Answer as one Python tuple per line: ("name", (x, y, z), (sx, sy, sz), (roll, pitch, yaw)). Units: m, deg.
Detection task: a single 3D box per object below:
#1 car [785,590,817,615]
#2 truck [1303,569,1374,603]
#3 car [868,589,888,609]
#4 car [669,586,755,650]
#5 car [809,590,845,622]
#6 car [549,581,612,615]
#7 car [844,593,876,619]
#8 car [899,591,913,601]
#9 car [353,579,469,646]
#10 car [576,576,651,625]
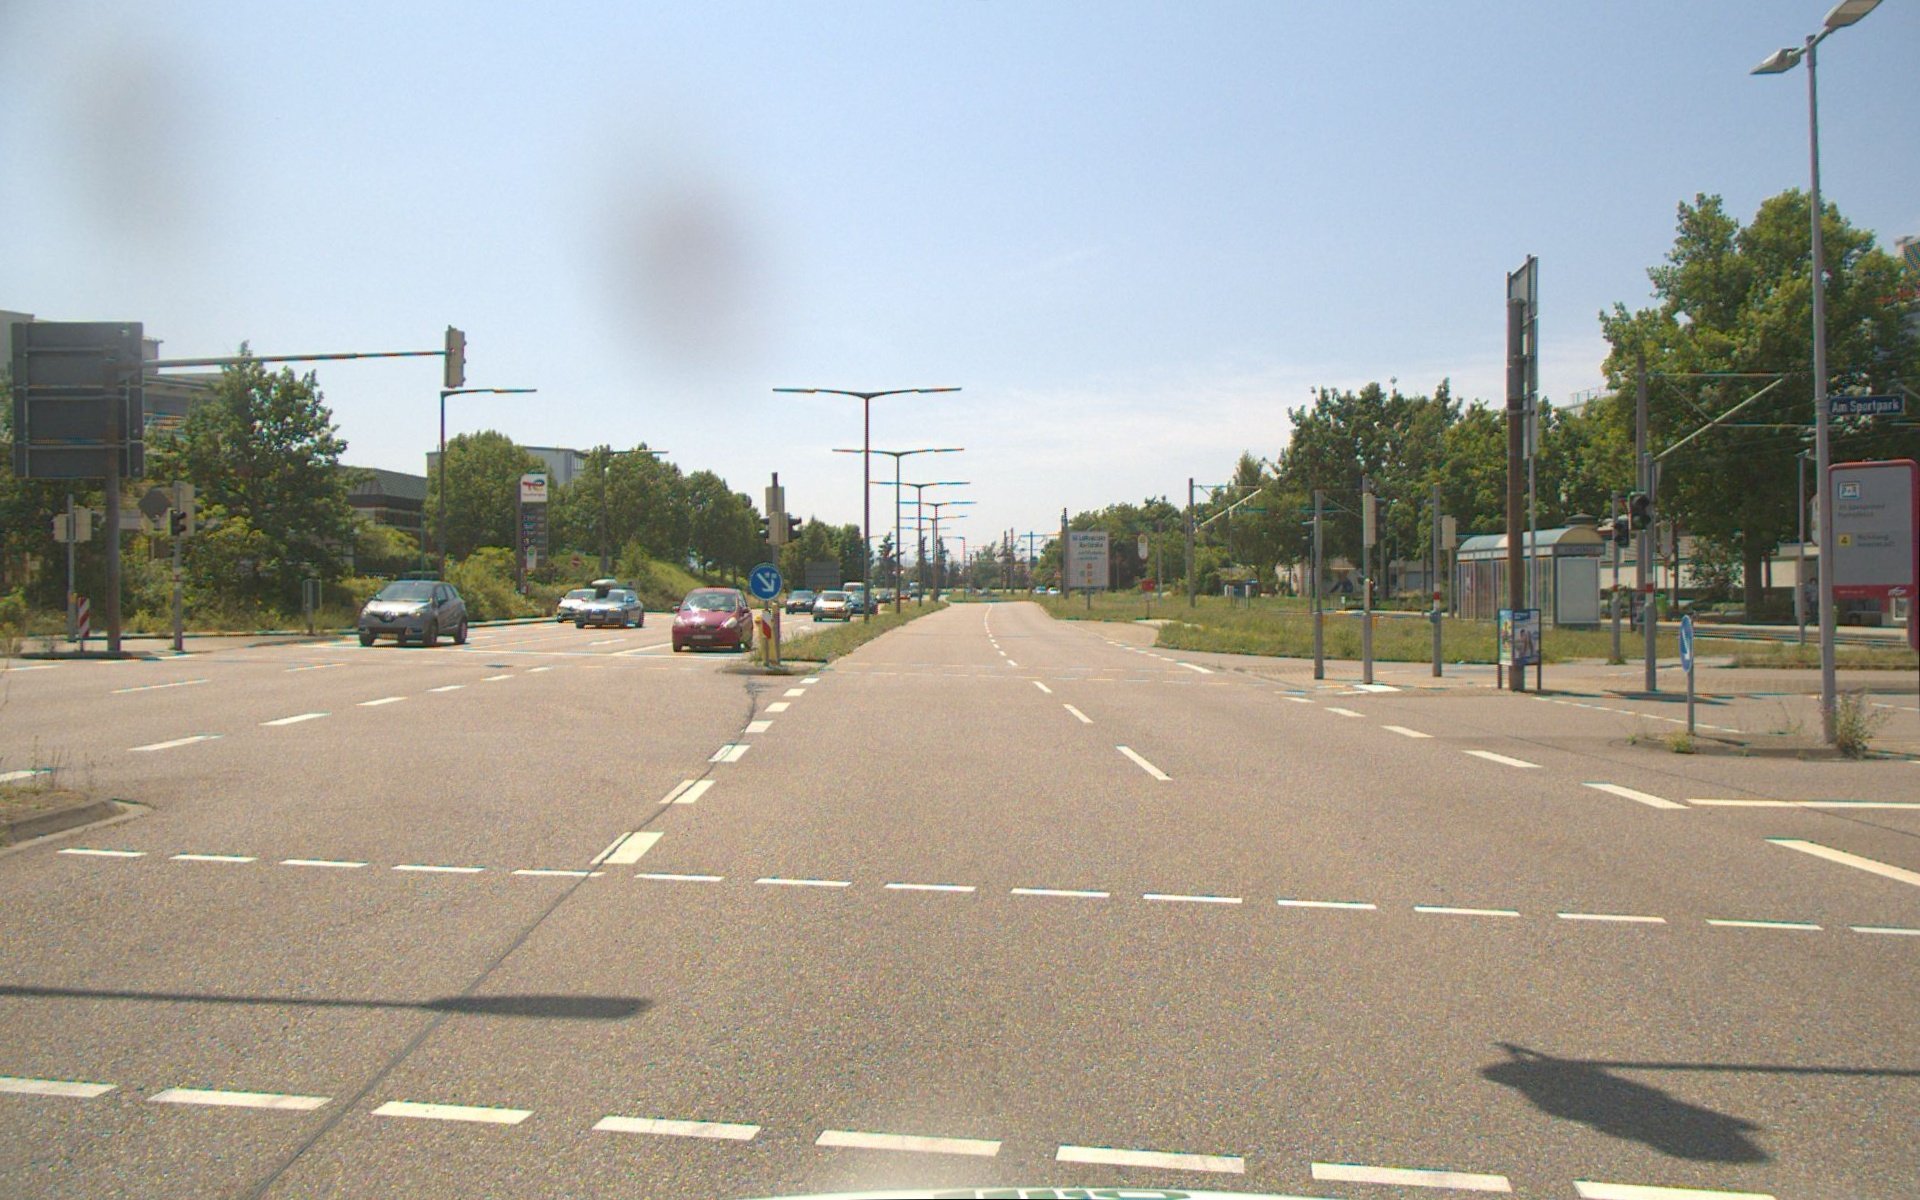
("car", (-9.764, 0.134, 101.554), (1.604, 1.454, 4.051), (0, 0, 0))
("truck", (33.869, -1.245, 148.159), (5.730, 2.893, 2.316), (-2, 0, -8))
("car", (-8.562, -0.089, 173.202), (1.954, 2.049, 3.997), (1, 0, -4))
("car", (-6.118, 0.415, 41.170), (1.625, 1.516, 3.999), (0, 0, -2))
("car", (-6.342, 0.251, 79.018), (1.529, 1.448, 3.853), (0, 1, -2))
("car", (-16.968, -0.093, 74.177), (1.785, 1.475, 3.829), (0, 0, 3))
("car", (-5.805, 0.306, 96.182), (1.642, 1.459, 4.190), (0, 0, -1))
("car", (-7.961, -0.562, 243.179), (1.695, 1.483, 4.566), (0, 0, 2))
("car", (-13.531, 0.270, 40.983), (1.625, 1.566, 3.999), (1, 0, -2))
("car", (-13.090, 0.003, 62.757), (1.925, 1.780, 5.020), (0, 0, -2))
